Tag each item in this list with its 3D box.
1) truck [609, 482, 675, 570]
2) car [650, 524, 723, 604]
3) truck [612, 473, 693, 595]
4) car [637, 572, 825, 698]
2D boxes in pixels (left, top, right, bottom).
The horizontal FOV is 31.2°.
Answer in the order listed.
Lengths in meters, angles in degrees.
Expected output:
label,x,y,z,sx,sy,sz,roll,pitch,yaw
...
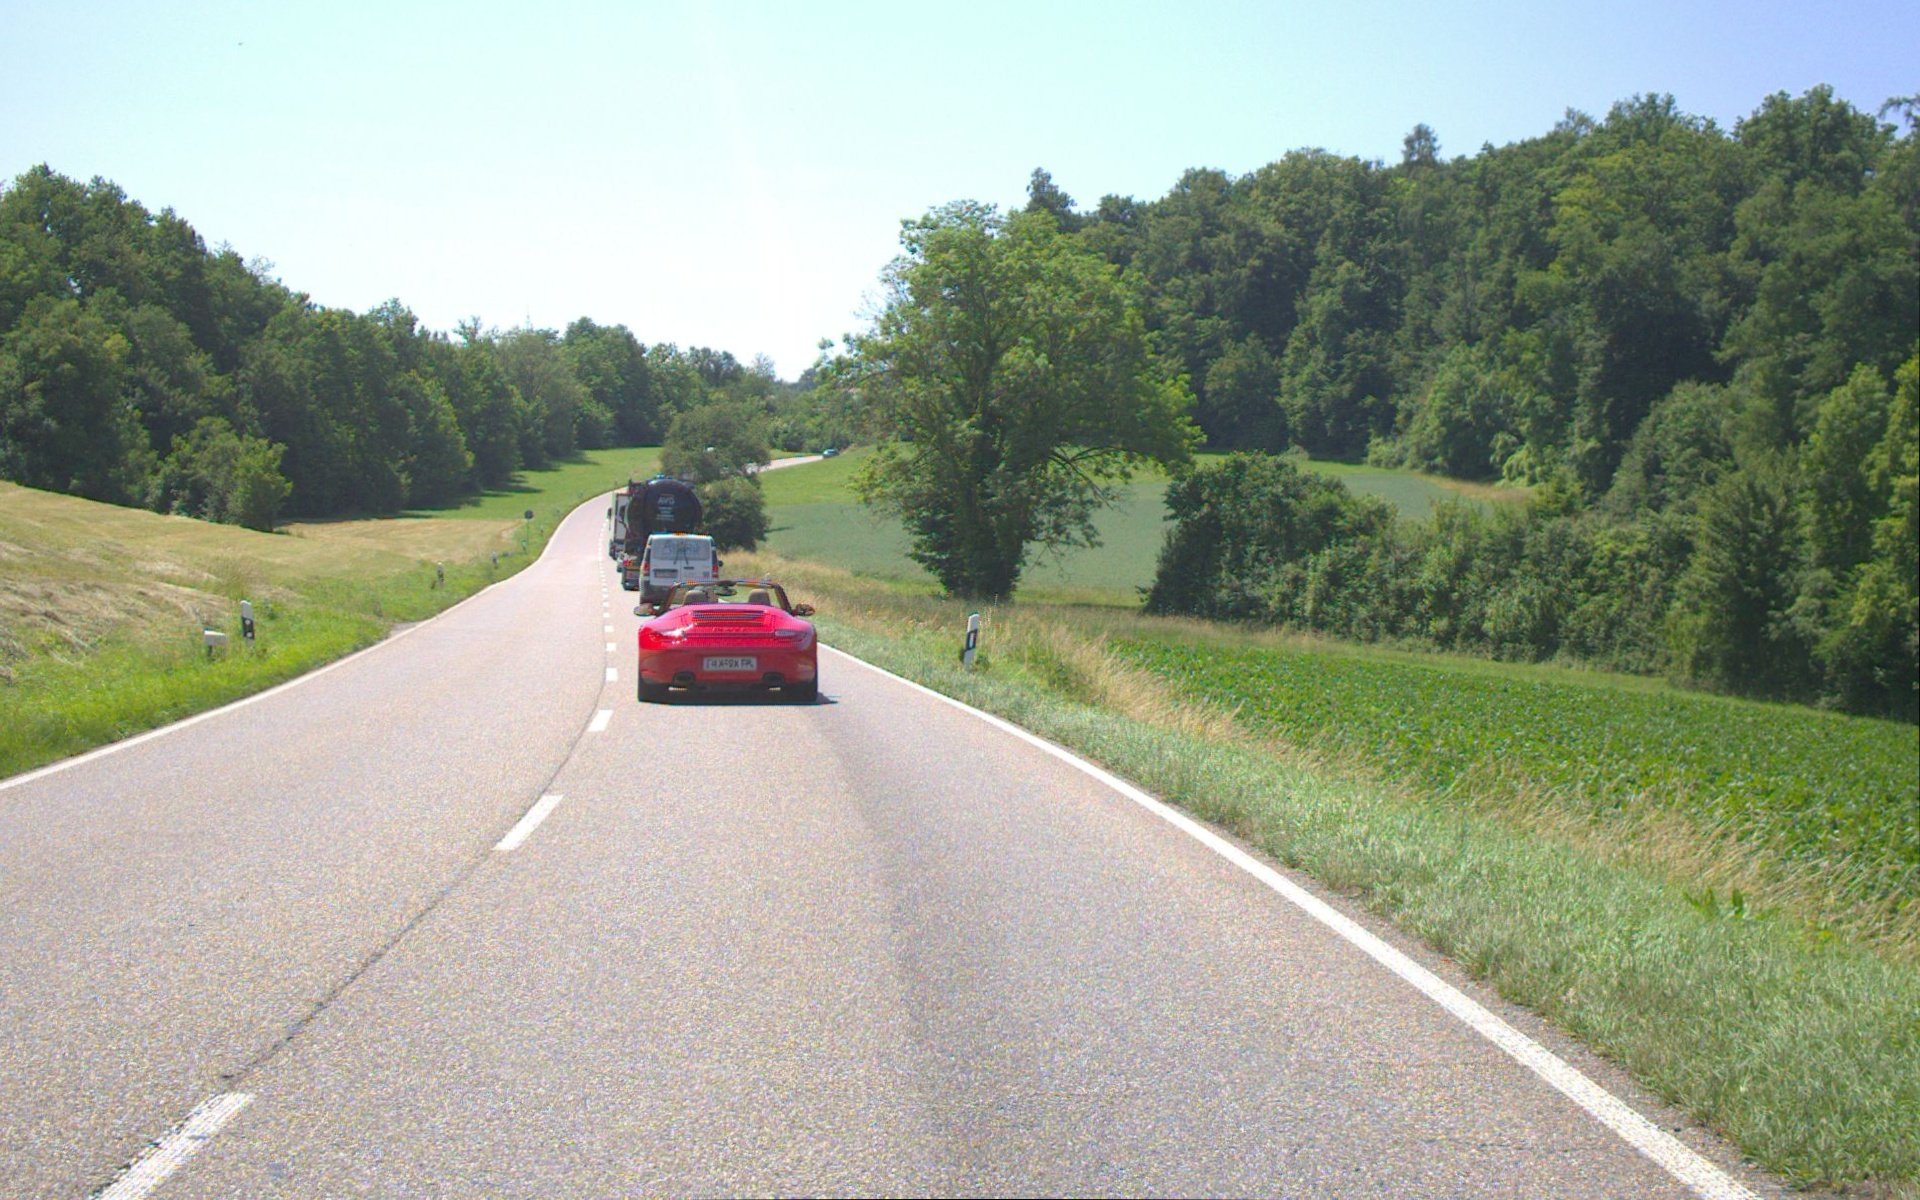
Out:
label,x,y,z,sx,sy,sz,roll,pitch,yaw
truck,-19.083,-4.502,206.488,3.724,4.643,12.035,1,4,-5
car,-6.715,-0.903,84.589,1.678,1.894,4.010,0,1,-3
truck,-10.879,-2.425,120.779,2.403,4.035,12.554,1,2,-7
car,-2.480,0.340,36.548,1.882,1.251,4.010,0,1,-5
